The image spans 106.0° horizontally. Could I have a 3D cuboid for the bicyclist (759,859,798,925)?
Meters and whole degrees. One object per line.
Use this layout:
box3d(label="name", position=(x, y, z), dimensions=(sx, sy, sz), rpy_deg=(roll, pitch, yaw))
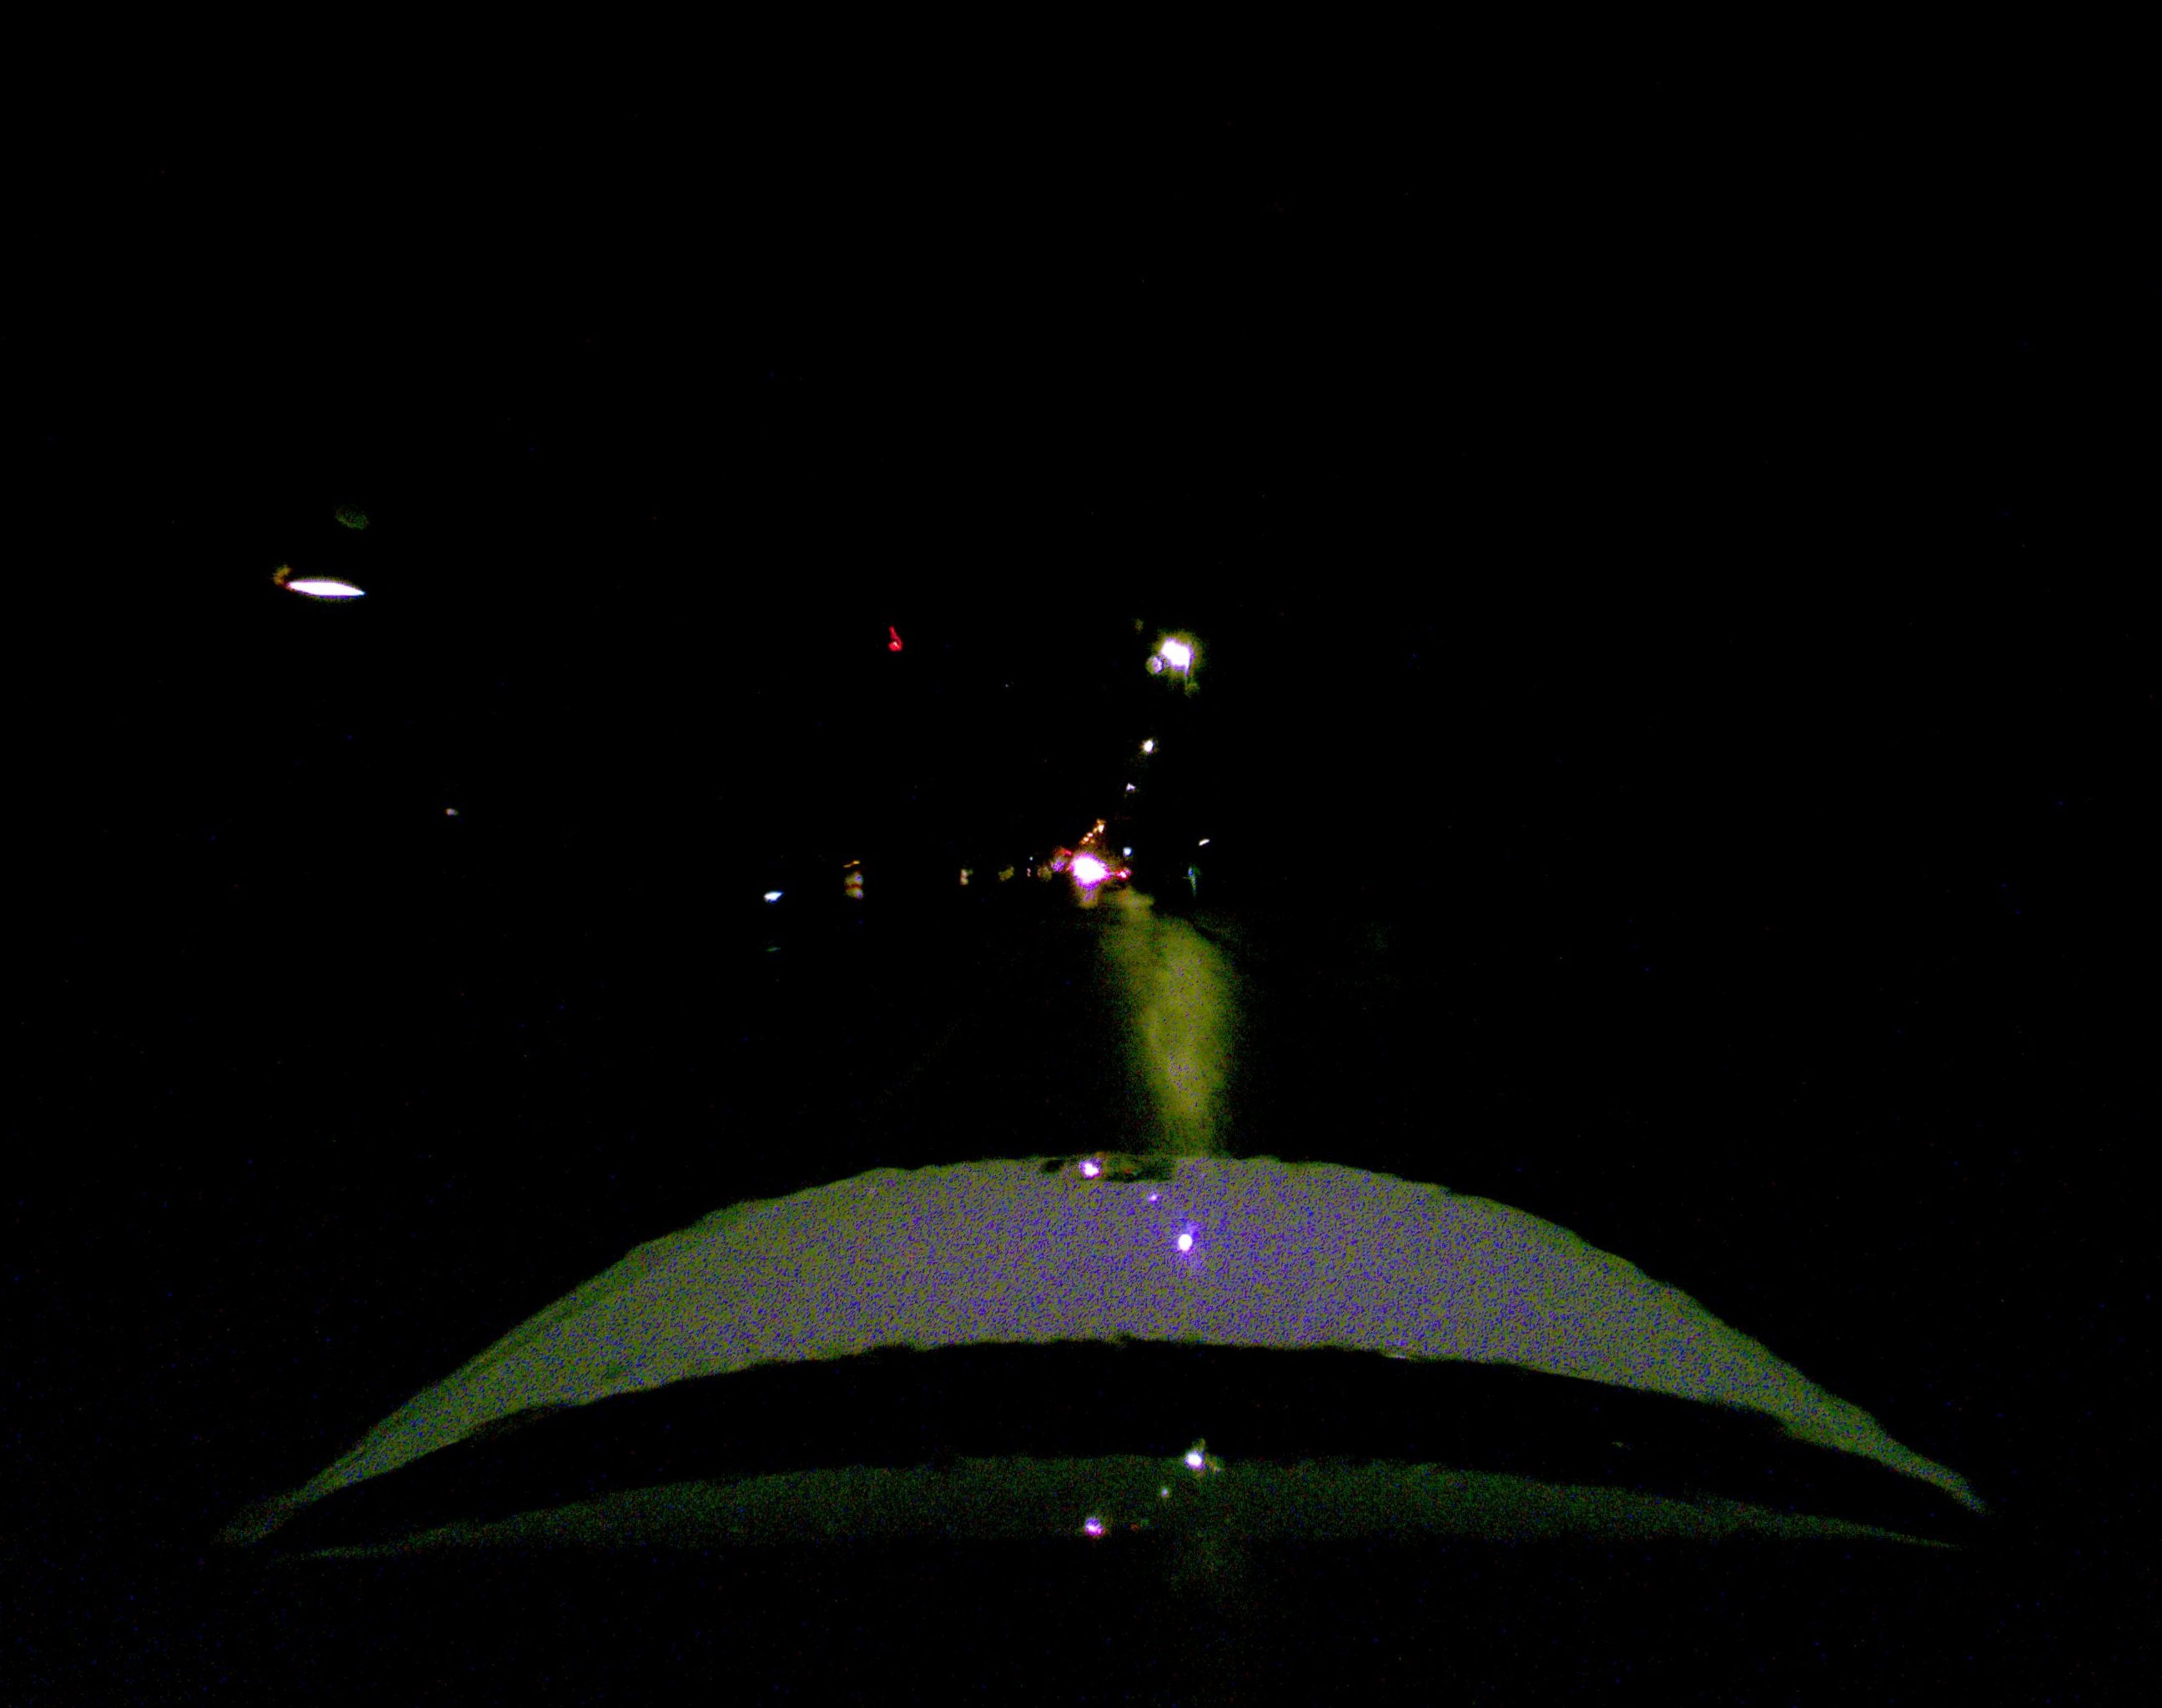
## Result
box3d(label="bicyclist", position=(-7.698, 0.951, 20.749), dimensions=(0.634, 1.594, 0.961), rpy_deg=(1, 2, 1))

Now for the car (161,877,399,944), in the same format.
box3d(label="car", position=(-17.948, 1.294, 18.335), dimensions=(4.055, 1.372, 1.496), rpy_deg=(-1, -6, 6))

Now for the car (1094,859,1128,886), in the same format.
box3d(label="car", position=(1.870, 1.148, 52.326), dimensions=(1.988, 1.684, 3.998), rpy_deg=(0, 0, -1))

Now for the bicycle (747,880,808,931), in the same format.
box3d(label="bicycle", position=(-7.733, 1.295, 20.870), dimensions=(0.627, 1.161, 2.314), rpy_deg=(1, 0, 1))
